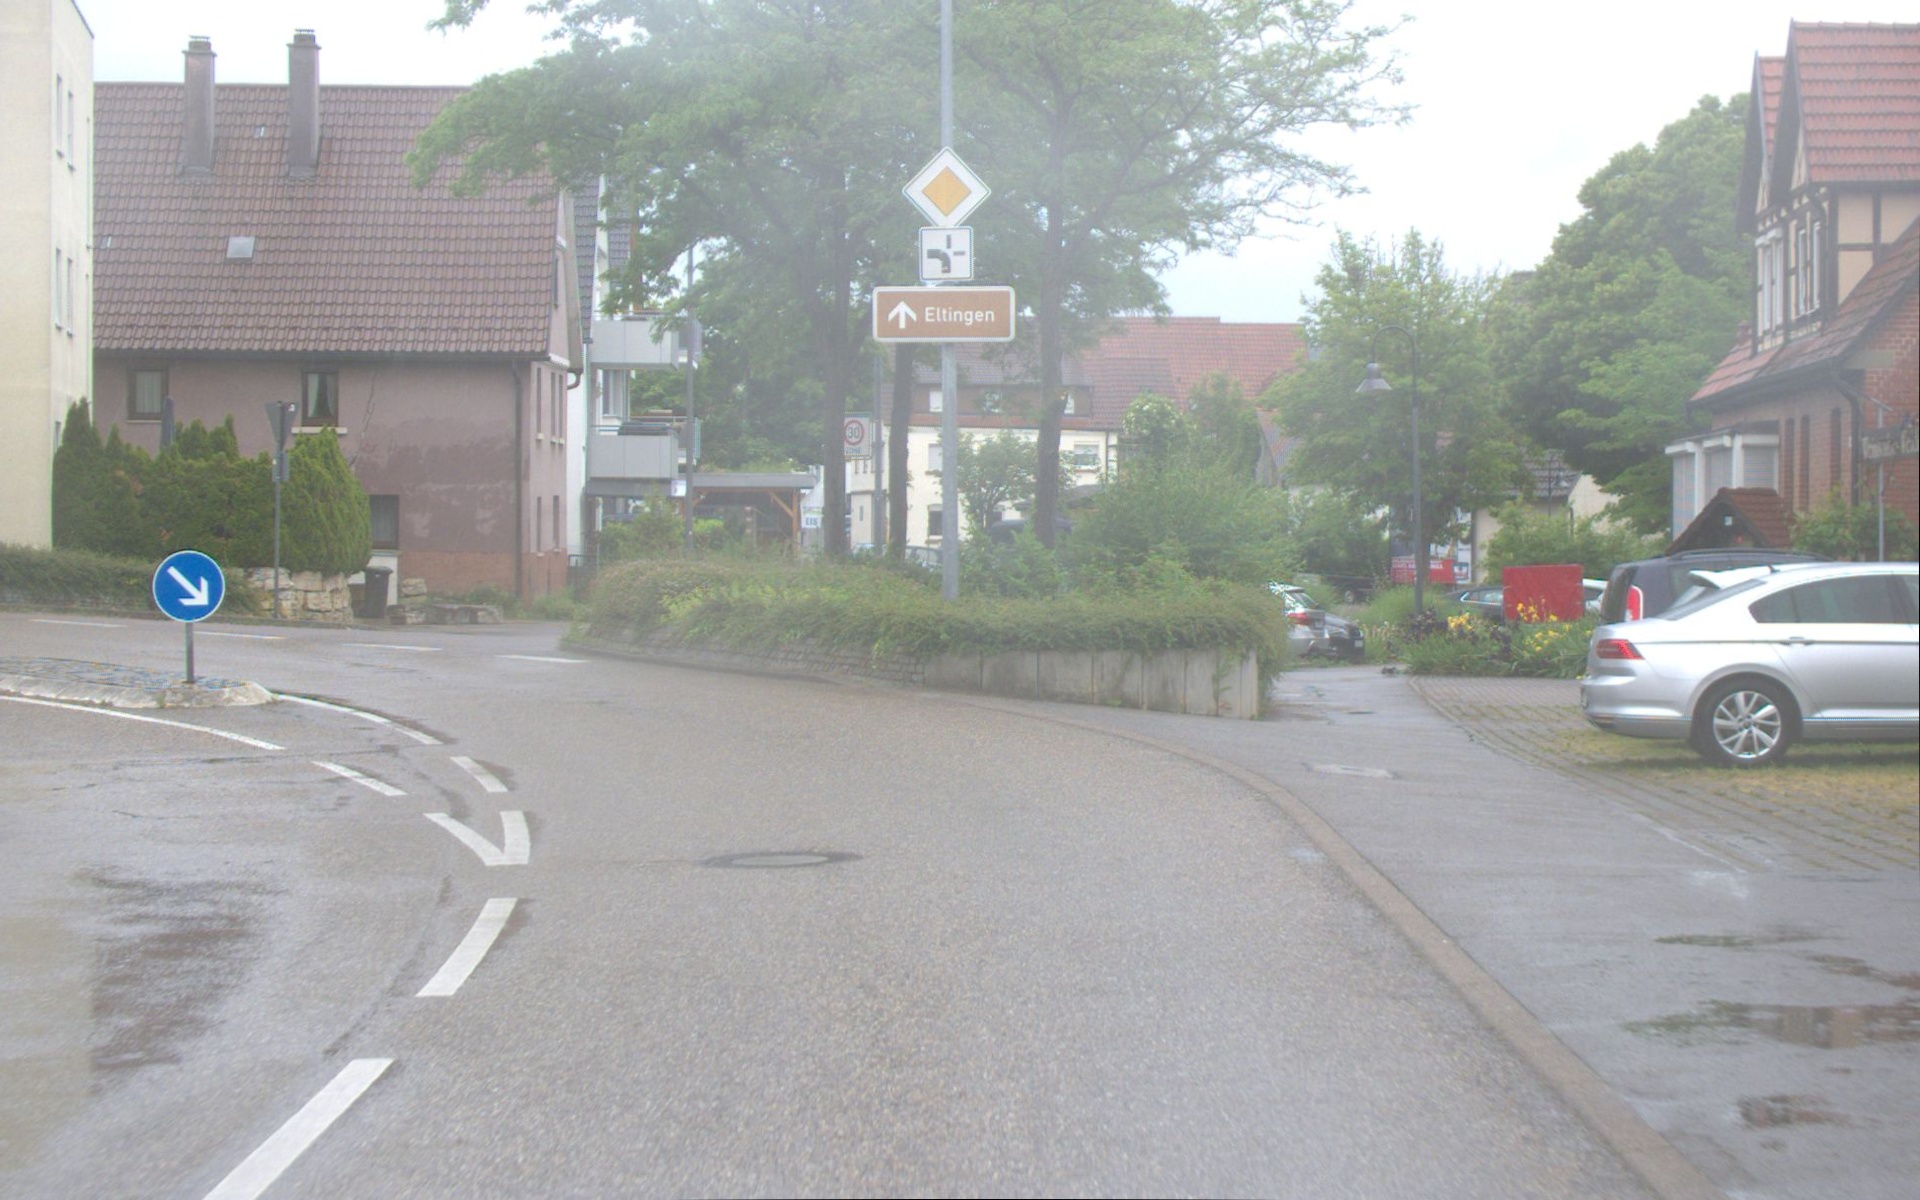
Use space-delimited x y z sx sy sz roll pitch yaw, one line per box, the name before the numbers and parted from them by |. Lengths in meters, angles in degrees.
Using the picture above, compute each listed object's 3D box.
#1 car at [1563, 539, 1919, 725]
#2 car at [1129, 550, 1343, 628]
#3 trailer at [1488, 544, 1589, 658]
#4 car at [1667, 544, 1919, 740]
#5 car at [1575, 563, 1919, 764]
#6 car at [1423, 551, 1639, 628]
car | 7.587 0.275 30.938 3.987 1.577 1.748 -1 0 0
car | 4.999 -0.204 61.925 3.769 1.333 1.714 1 1 7
trailer | 8.911 0.000 52.864 1.408 1.643 2.724 3 1 11
car | 7.614 0.359 28.040 3.421 1.524 1.718 -1 -3 5
car | 6.858 0.435 24.916 4.613 1.410 1.820 0 0 6
car | 13.176 -0.248 79.376 4.475 1.546 1.997 3 1 26
